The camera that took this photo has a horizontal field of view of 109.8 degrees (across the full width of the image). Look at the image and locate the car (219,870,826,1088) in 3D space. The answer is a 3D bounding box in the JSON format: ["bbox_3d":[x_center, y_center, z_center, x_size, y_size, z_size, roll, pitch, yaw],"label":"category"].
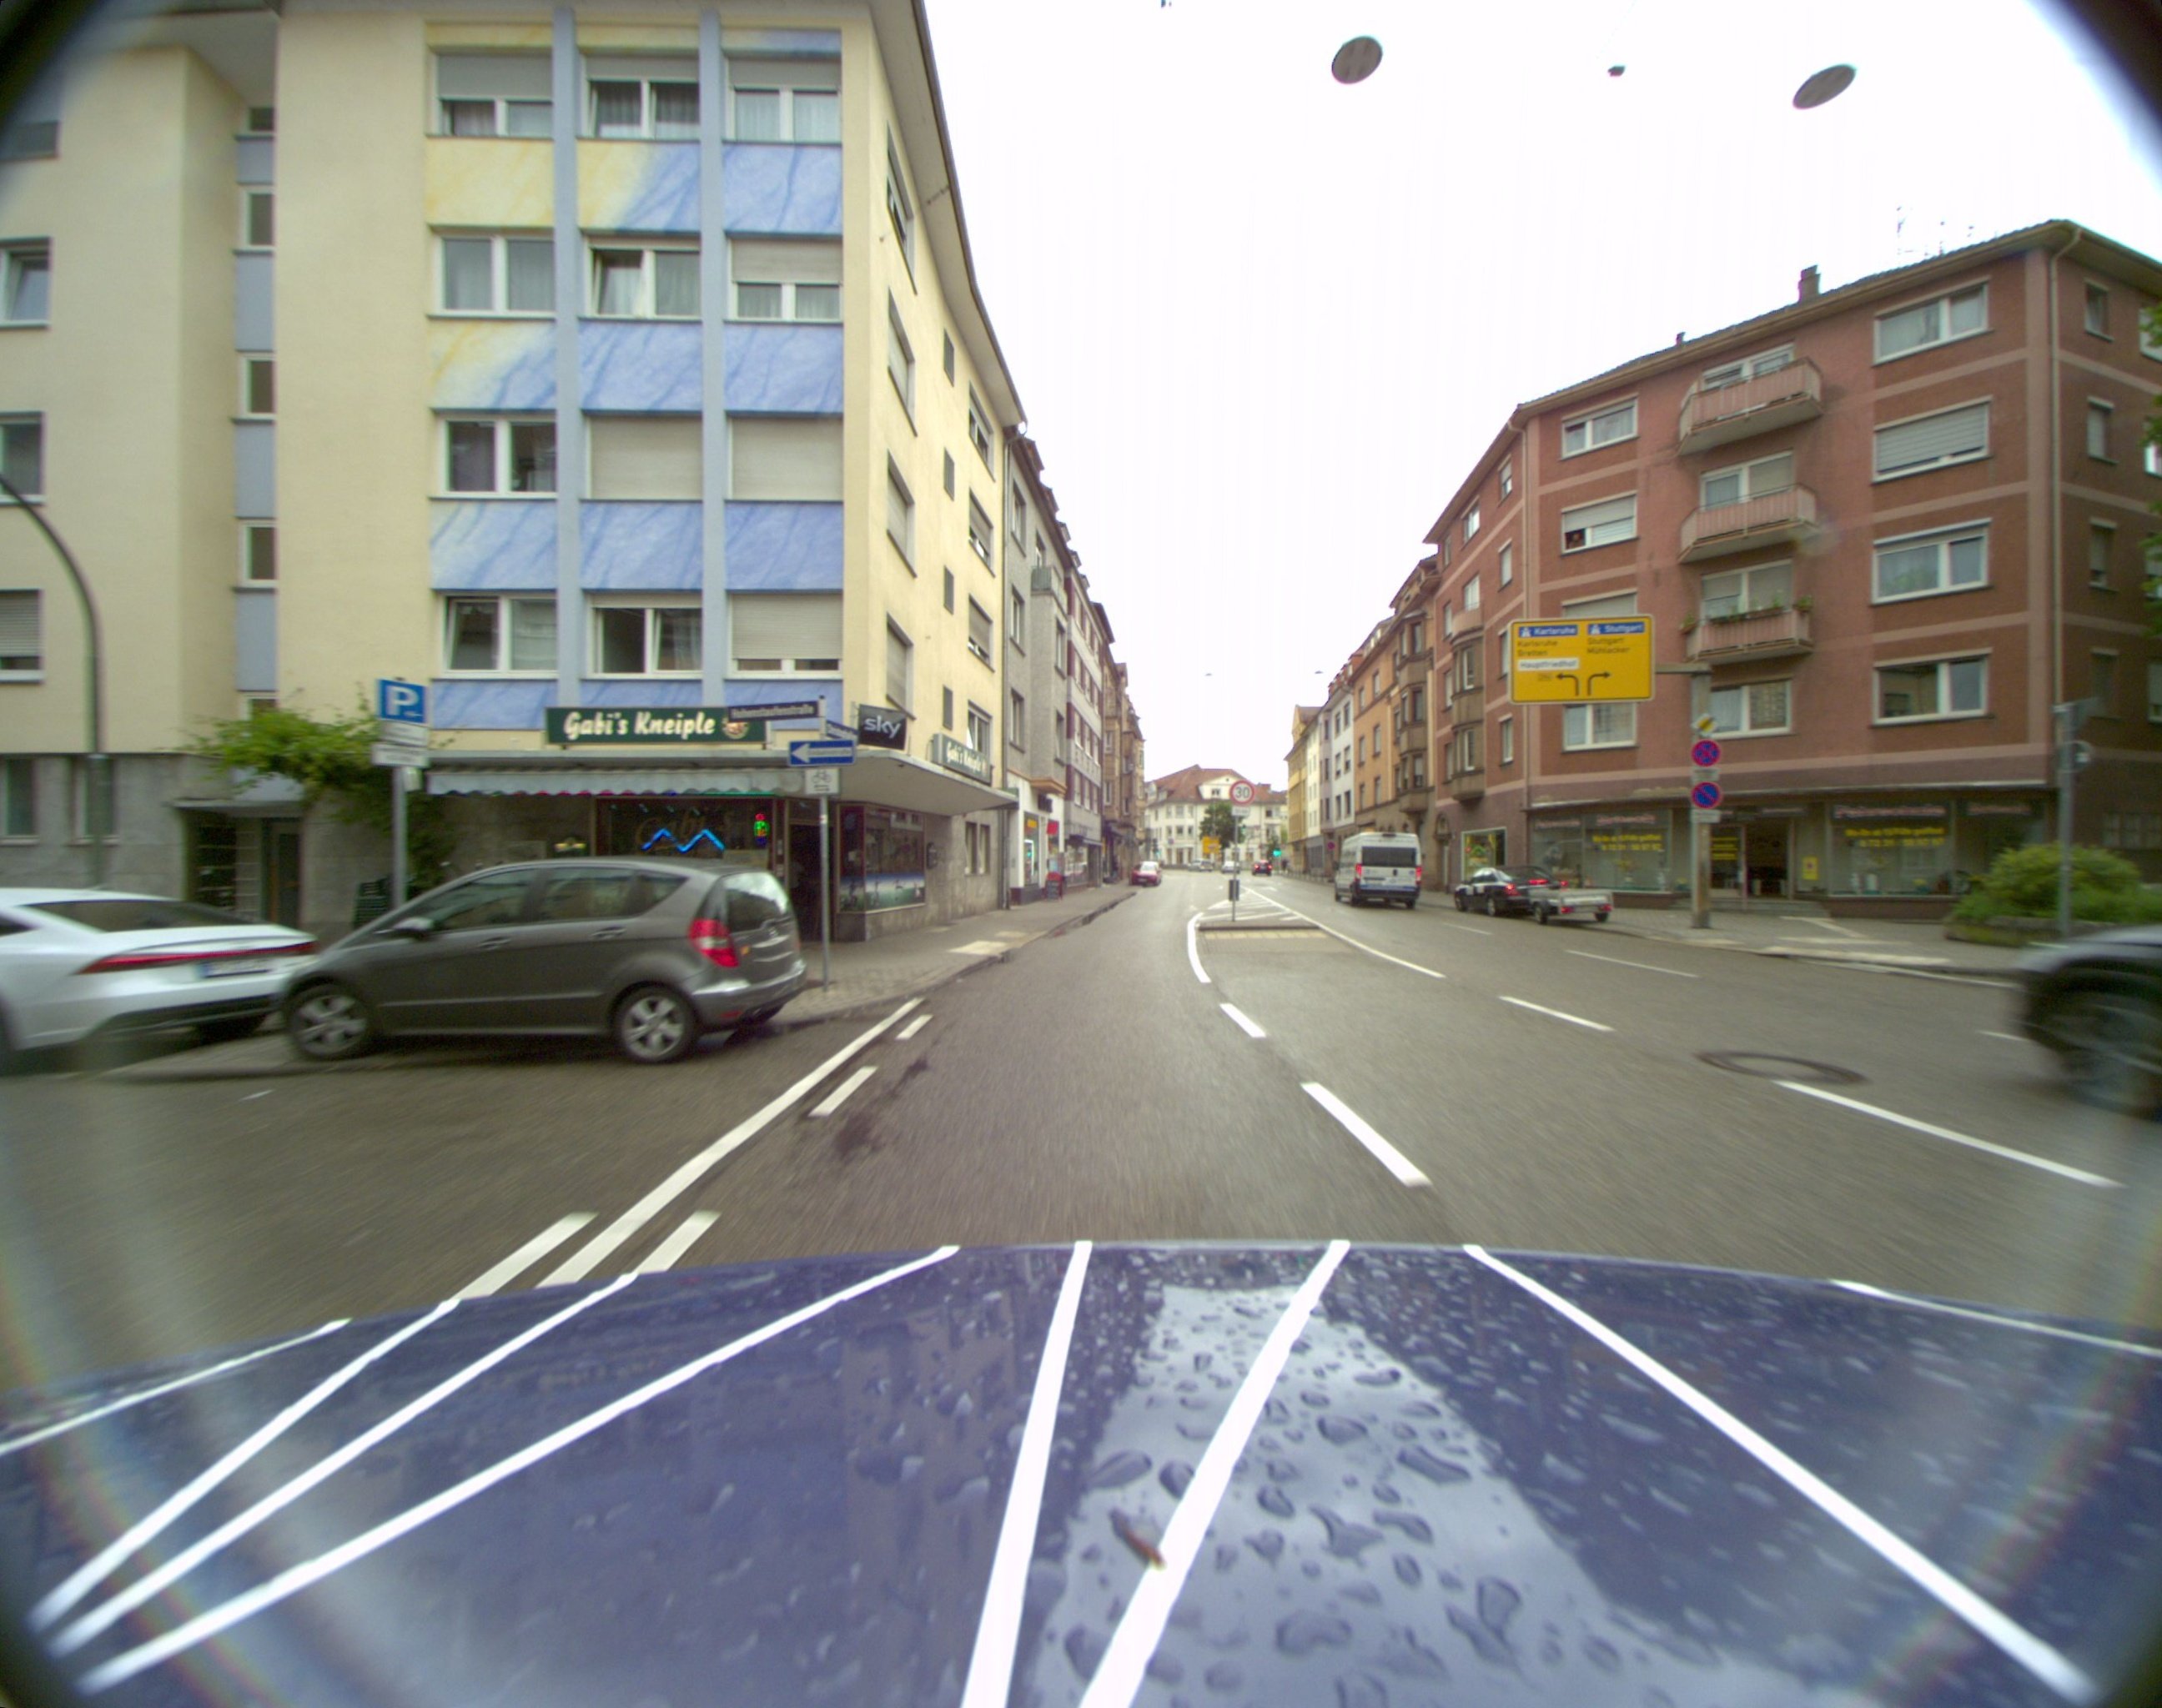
[{"bbox_3d":[-4.462,0.927,6.554,3.834,1.564,1.937,0,0,2],"label":"car"}]

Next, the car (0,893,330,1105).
[{"bbox_3d":[-9.330,1.073,6.260,4.490,1.433,1.787,0,0,0],"label":"car"}]

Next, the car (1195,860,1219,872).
[{"bbox_3d":[16.314,1.574,98.888,1.949,1.574,4.518,0,0,-6],"label":"car"}]

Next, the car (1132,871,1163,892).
[{"bbox_3d":[4.410,1.775,49.887,1.747,1.361,4.318,0,-1,8],"label":"car"}]

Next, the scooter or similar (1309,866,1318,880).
[{"bbox_3d":[20.635,1.670,67.433,0.462,1.206,1.580,-4,-1,7],"label":"scooter or similar"}]

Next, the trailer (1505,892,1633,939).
[{"bbox_3d":[11.873,1.473,18.708,1.590,0.943,3.059,-1,-1,10],"label":"trailer"}]

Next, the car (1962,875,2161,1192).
[{"bbox_3d":[6.399,0.898,2.643,1.747,1.651,4.420,0,-2,5],"label":"car"}]

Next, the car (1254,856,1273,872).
[{"bbox_3d":[19.300,1.011,80.431,1.757,1.641,4.311,0,0,10],"label":"car"}]

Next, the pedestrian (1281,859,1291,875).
[{"bbox_3d":[24.359,1.527,90.441,0.895,1.760,1.033,-4,-1,6],"label":"pedestrian"}]

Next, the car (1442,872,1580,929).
[{"bbox_3d":[12.597,1.307,22.644,1.853,1.389,4.796,-3,-1,8],"label":"car"}]

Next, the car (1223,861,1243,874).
[{"bbox_3d":[17.419,1.532,87.277,1.946,1.461,4.563,0,-1,8],"label":"car"}]

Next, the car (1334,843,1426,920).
[{"bbox_3d":[10.512,0.899,27.246,2.089,2.420,6.360,0,0,12],"label":"car"}]

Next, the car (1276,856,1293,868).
[{"bbox_3d":[27.640,1.125,103.177,1.984,1.585,4.342,0,0,11],"label":"car"}]

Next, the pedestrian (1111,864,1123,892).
[{"bbox_3d":[2.375,1.571,50.026,0.745,1.769,0.796,0,0,6],"label":"pedestrian"}]

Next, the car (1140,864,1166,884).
[{"bbox_3d":[5.486,1.480,57.462,1.650,1.485,4.451,0,0,9],"label":"car"}]

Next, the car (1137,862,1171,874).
[{"bbox_3d":[10.203,1.971,106.401,4.592,1.574,1.953,-1,-1,45],"label":"car"}]
